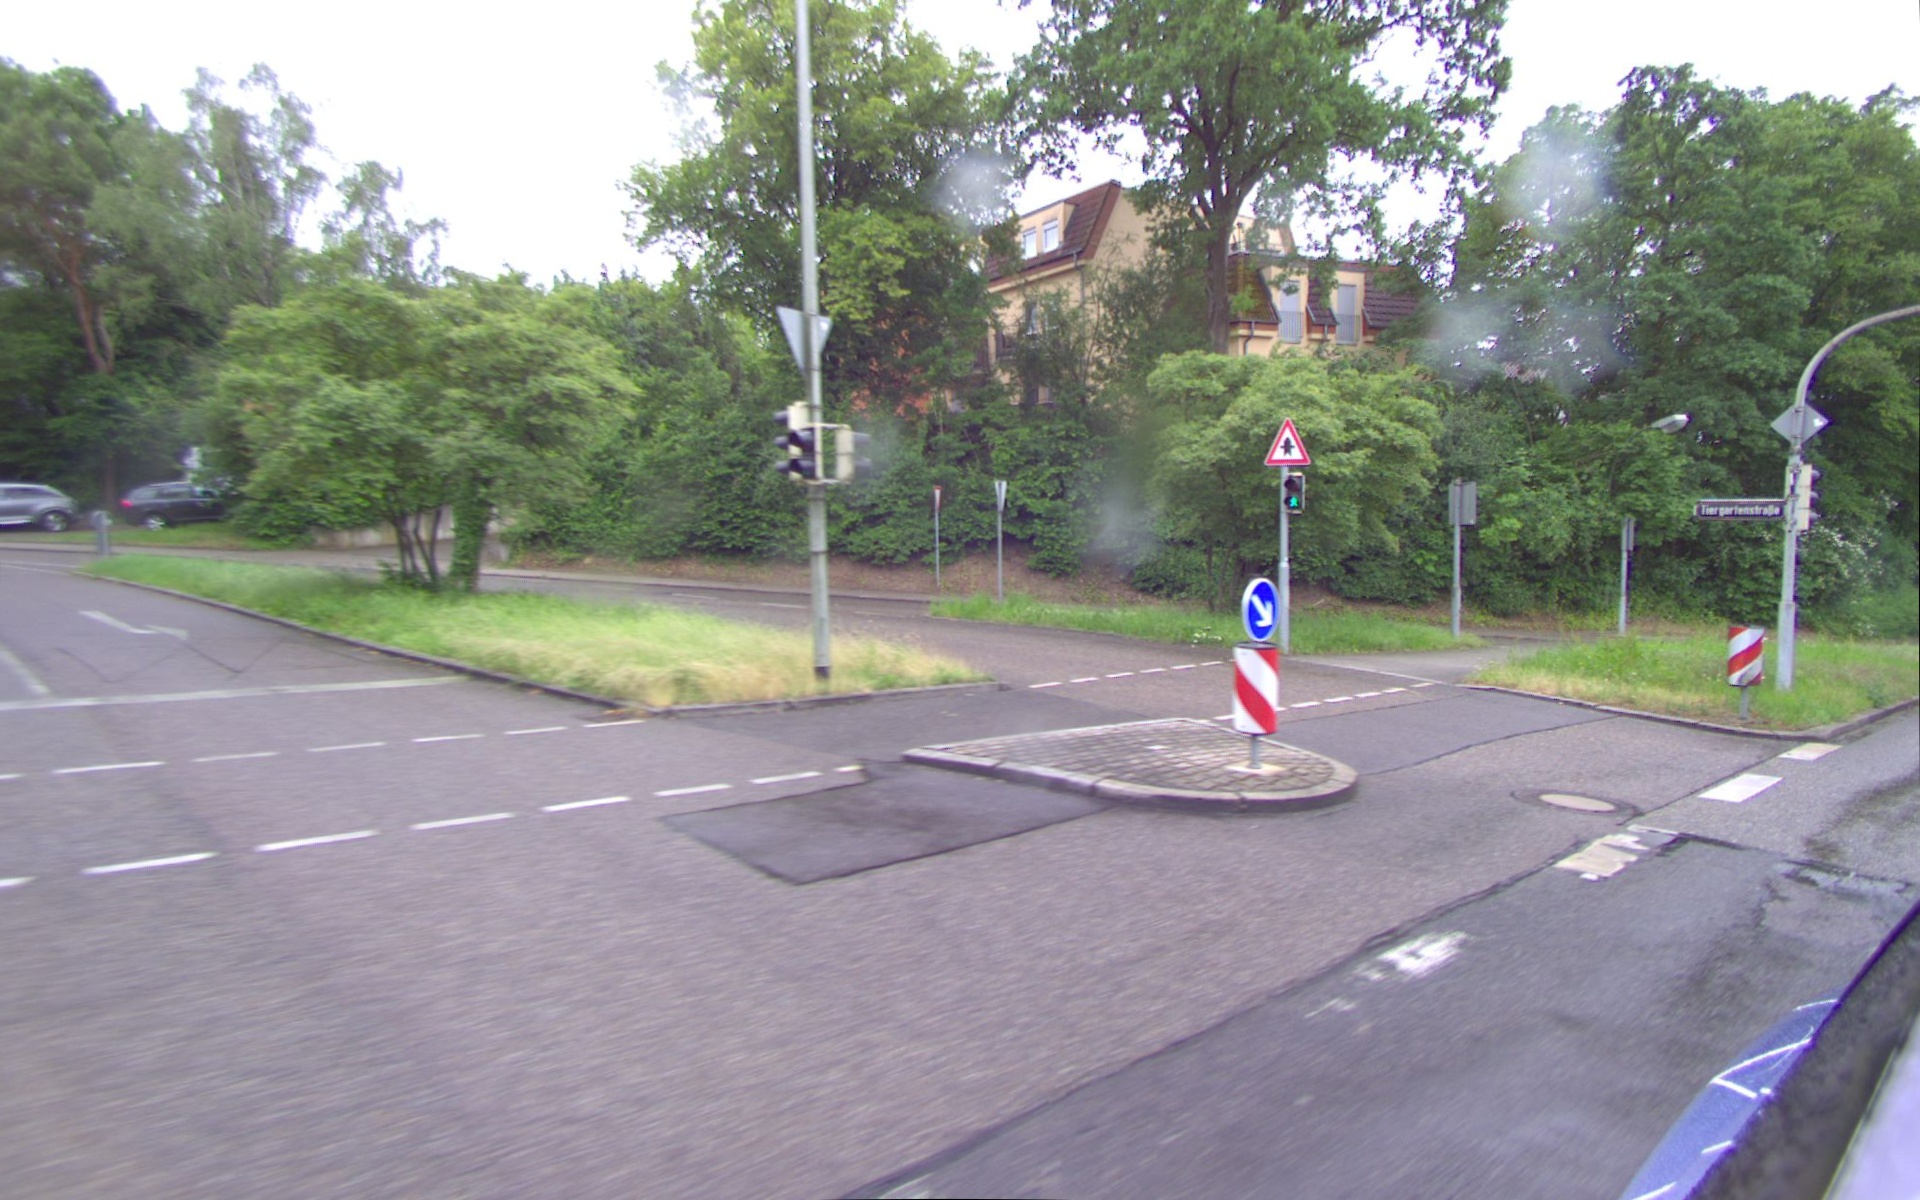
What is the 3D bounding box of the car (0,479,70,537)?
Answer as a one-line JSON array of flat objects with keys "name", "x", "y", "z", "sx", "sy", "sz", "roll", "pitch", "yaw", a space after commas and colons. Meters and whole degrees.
[{"name": "car", "x": -33.847, "y": -3.248, "z": 35.292, "sx": 1.947, "sy": 1.922, "sz": 3.948, "roll": 4, "pitch": 3, "yaw": 36}]
